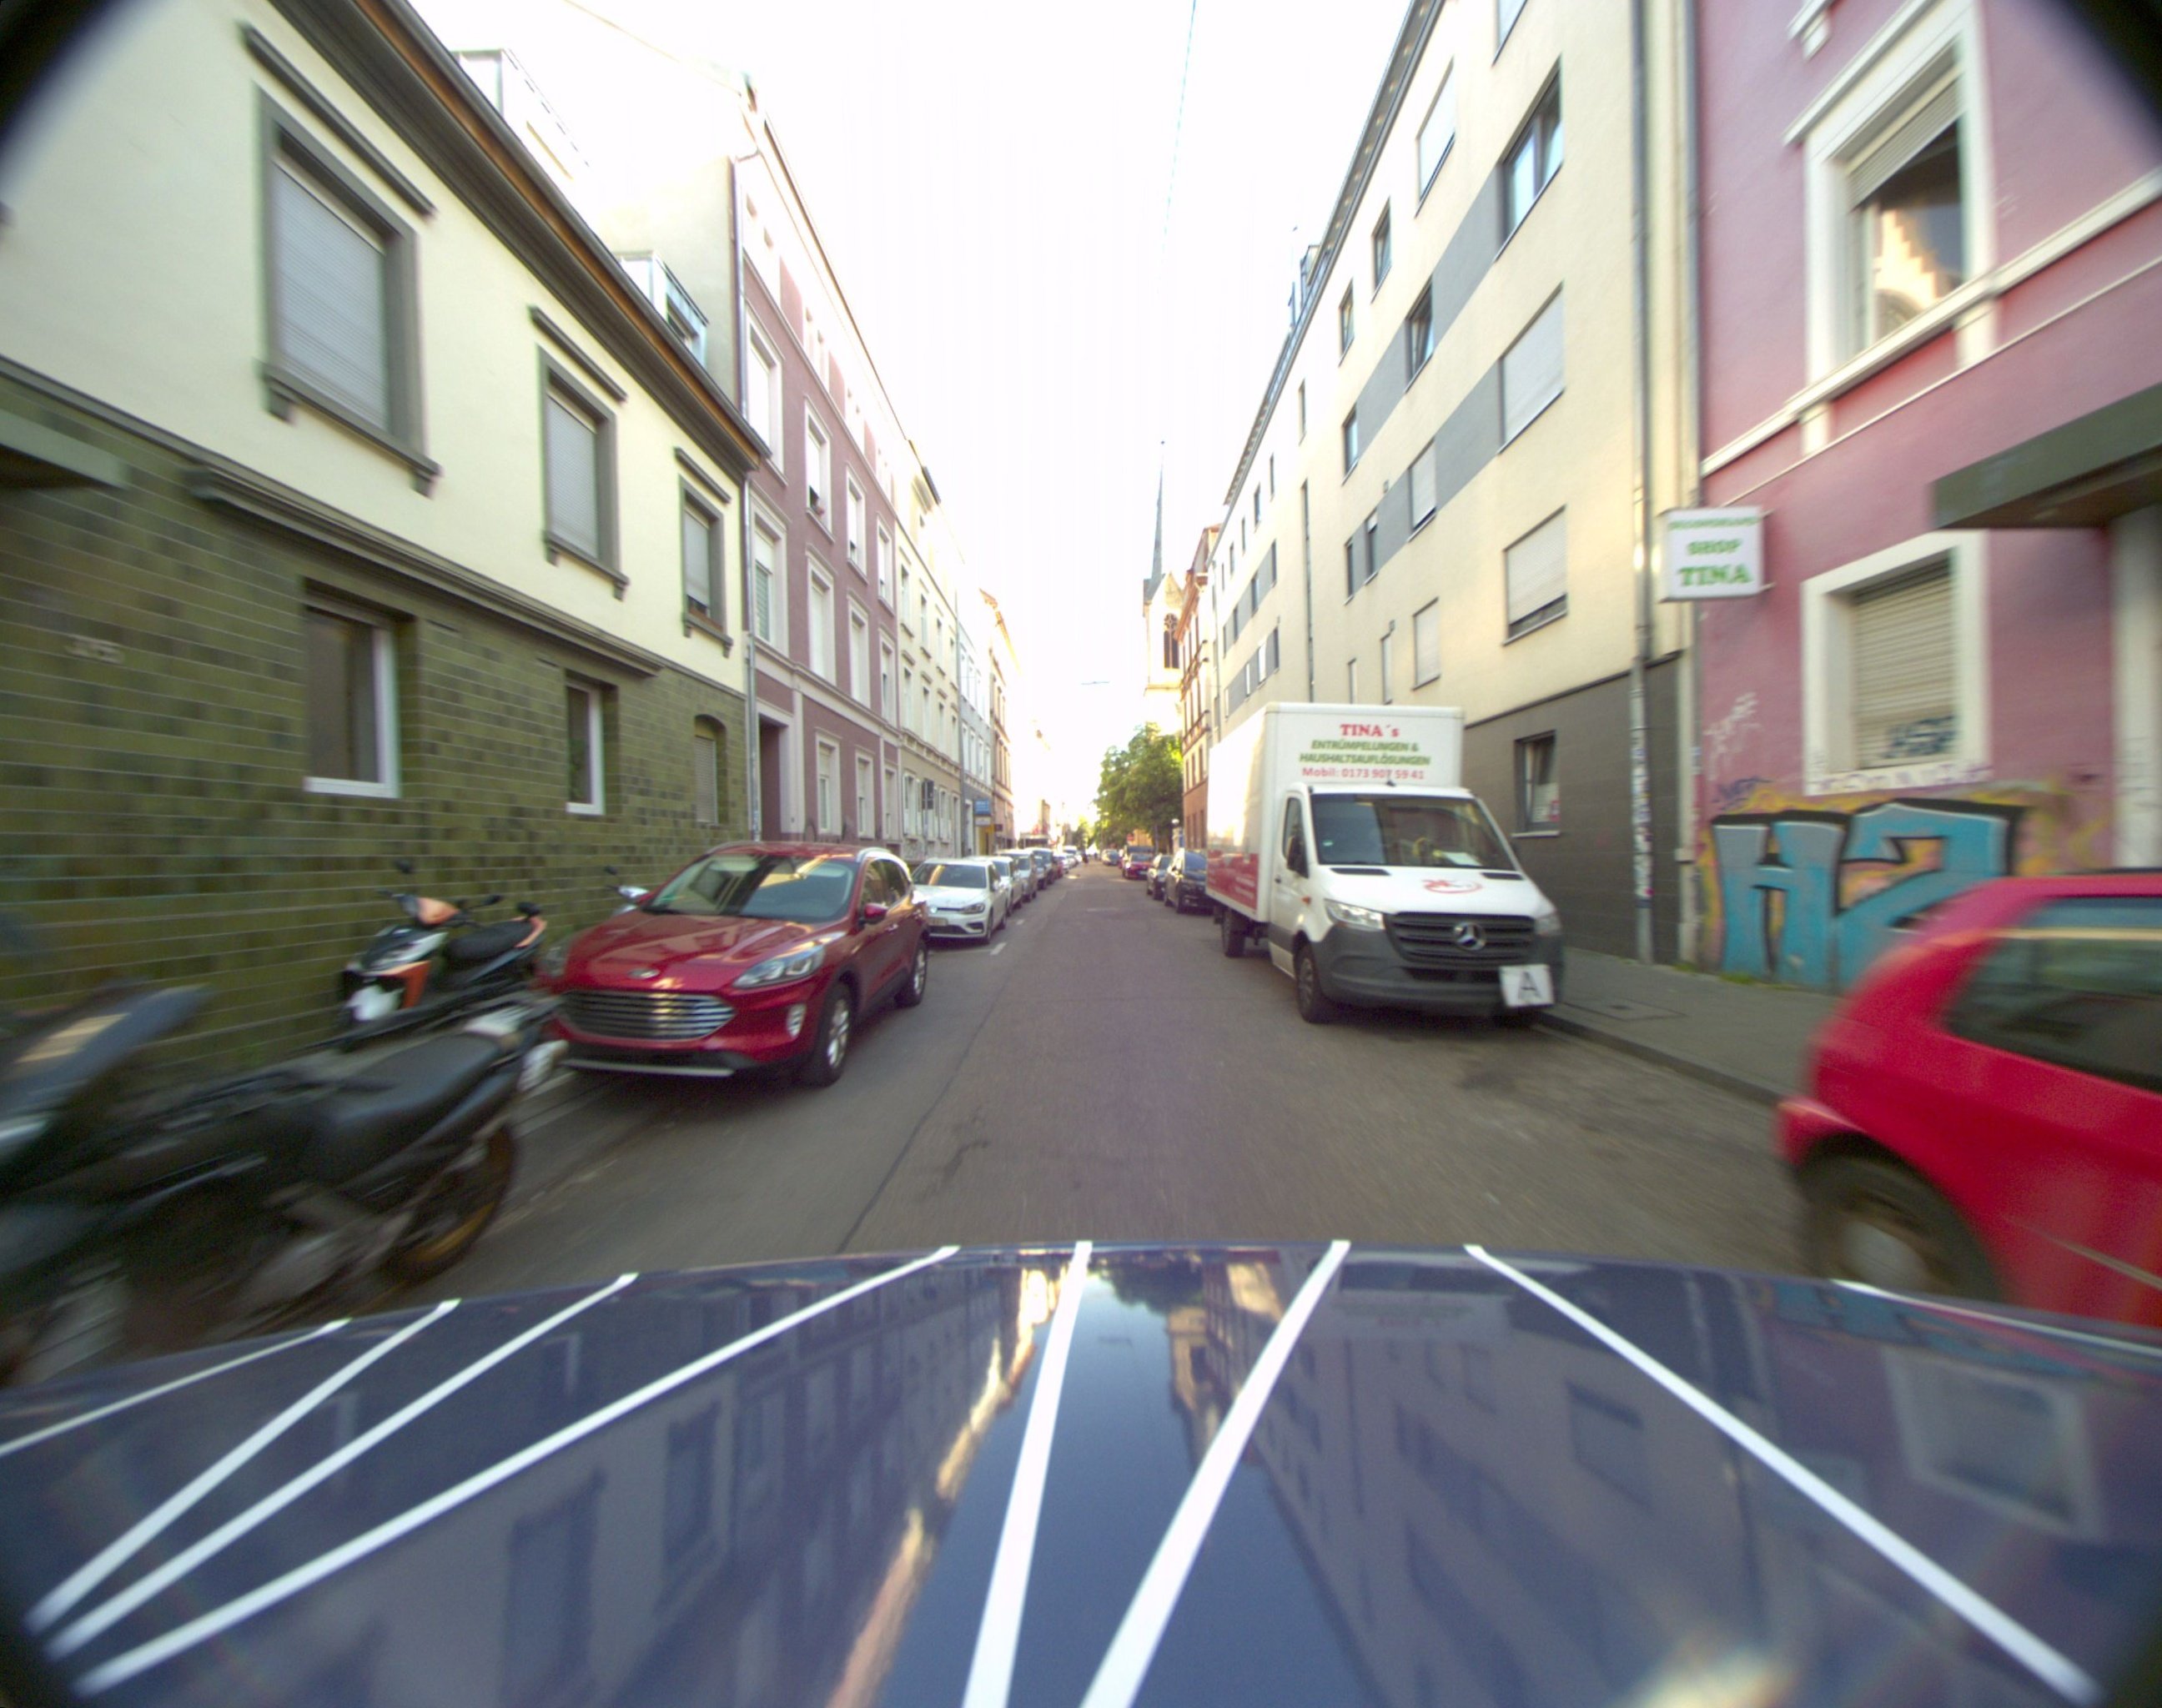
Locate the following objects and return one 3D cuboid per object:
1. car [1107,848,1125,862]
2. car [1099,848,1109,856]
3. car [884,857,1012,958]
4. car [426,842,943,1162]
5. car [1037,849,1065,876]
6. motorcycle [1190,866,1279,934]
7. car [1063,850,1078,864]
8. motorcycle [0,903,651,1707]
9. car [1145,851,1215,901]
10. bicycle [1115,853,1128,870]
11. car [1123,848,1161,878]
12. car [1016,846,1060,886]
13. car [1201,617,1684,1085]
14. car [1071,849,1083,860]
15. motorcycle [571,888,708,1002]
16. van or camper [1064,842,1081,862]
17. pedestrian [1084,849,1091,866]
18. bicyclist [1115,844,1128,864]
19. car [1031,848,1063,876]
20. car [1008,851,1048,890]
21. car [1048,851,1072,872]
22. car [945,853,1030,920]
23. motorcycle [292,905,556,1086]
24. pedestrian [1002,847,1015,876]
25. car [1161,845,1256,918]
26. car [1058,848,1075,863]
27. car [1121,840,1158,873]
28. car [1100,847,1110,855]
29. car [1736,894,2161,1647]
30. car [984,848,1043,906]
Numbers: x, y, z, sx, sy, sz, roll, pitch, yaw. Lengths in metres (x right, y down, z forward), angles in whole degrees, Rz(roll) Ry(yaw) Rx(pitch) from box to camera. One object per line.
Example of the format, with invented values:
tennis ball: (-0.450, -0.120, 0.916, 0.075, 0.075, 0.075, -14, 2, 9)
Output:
car: (3.971, 0.094, 86.507, 1.798, 1.543, 3.833, -3, 1, 1)
car: (4.820, -0.478, 157.946, 1.777, 1.614, 4.022, -2, 0, 0)
car: (-2.340, 0.882, 14.373, 1.690, 1.535, 4.045, 0, 1, 0)
car: (-2.562, 0.797, 6.335, 1.923, 1.696, 4.366, -2, 0, 0)
car: (-1.919, 0.506, 49.523, 1.610, 1.563, 3.553, -3, 1, 1)
motorcycle: (3.174, 0.898, 15.583, 0.789, 1.246, 2.112, 1, 1, 42)
car: (-1.225, 0.347, 87.890, 1.558, 1.518, 4.200, -3, 1, 1)
motorcycle: (-2.349, 0.994, 2.164, 0.749, 1.481, 2.421, -3, 1, 1)
car: (3.184, 0.675, 25.258, 1.721, 1.470, 4.499, 1, 0, 0)
bicycle: (3.232, 0.583, 60.590, 0.979, 1.306, 2.556, 0, 0, 4)
car: (3.282, 0.461, 41.549, 1.755, 1.513, 3.868, 1, 1, 1)
car: (-2.125, 0.548, 38.743, 1.904, 1.783, 4.314, -3, 1, 0)
car: (3.086, -0.073, 8.911, 2.349, 3.273, 7.153, 0, 1, 1)
car: (-0.571, 0.042, 118.012, 1.696, 1.615, 3.963, -2, 0, 1)
motorcycle: (-5.102, 1.006, 8.912, 0.560, 1.089, 1.776, 1, 1, 0)
van or camper: (-1.084, -0.335, 103.926, 1.998, 2.617, 5.978, -3, 1, 1)
pedestrian: (0.685, 0.372, 81.880, 0.718, 1.863, 0.720, -3, 2, 0)
bicyclist: (3.224, -0.009, 60.628, 0.952, 1.618, 0.953, 0, 1, 4)
car: (-2.025, 0.464, 45.379, 1.573, 1.548, 3.314, 1, 1, 3)
car: (-2.296, 0.678, 33.638, 1.556, 1.502, 3.610, -3, 1, -2)
car: (-1.618, 0.554, 58.889, 1.791, 1.507, 4.135, -3, 1, -1)
car: (-2.431, 0.784, 20.773, 1.701, 1.535, 4.628, 0, 1, 0)
motorcycle: (-5.177, 1.040, 6.182, 0.502, 1.089, 1.878, 1, 1, 0)
pedestrian: (-4.372, 0.459, 45.981, 0.630, 1.730, 0.658, -3, 2, -12)
car: (3.156, 0.634, 19.553, 1.721, 1.641, 4.246, 1, 0, 0)
car: (-1.553, 0.152, 79.057, 1.694, 1.454, 3.639, -3, 1, -2)
car: (3.547, 0.126, 46.967, 2.025, 1.868, 5.297, -3, 0, 2)
car: (5.180, -0.739, 163.790, 1.777, 1.614, 4.022, -2, 0, 0)
car: (3.002, 0.905, 0.775, 1.582, 1.475, 3.564, 0, 1, 0)
car: (-2.198, 0.704, 25.572, 1.560, 1.702, 3.558, -3, 1, 0)
